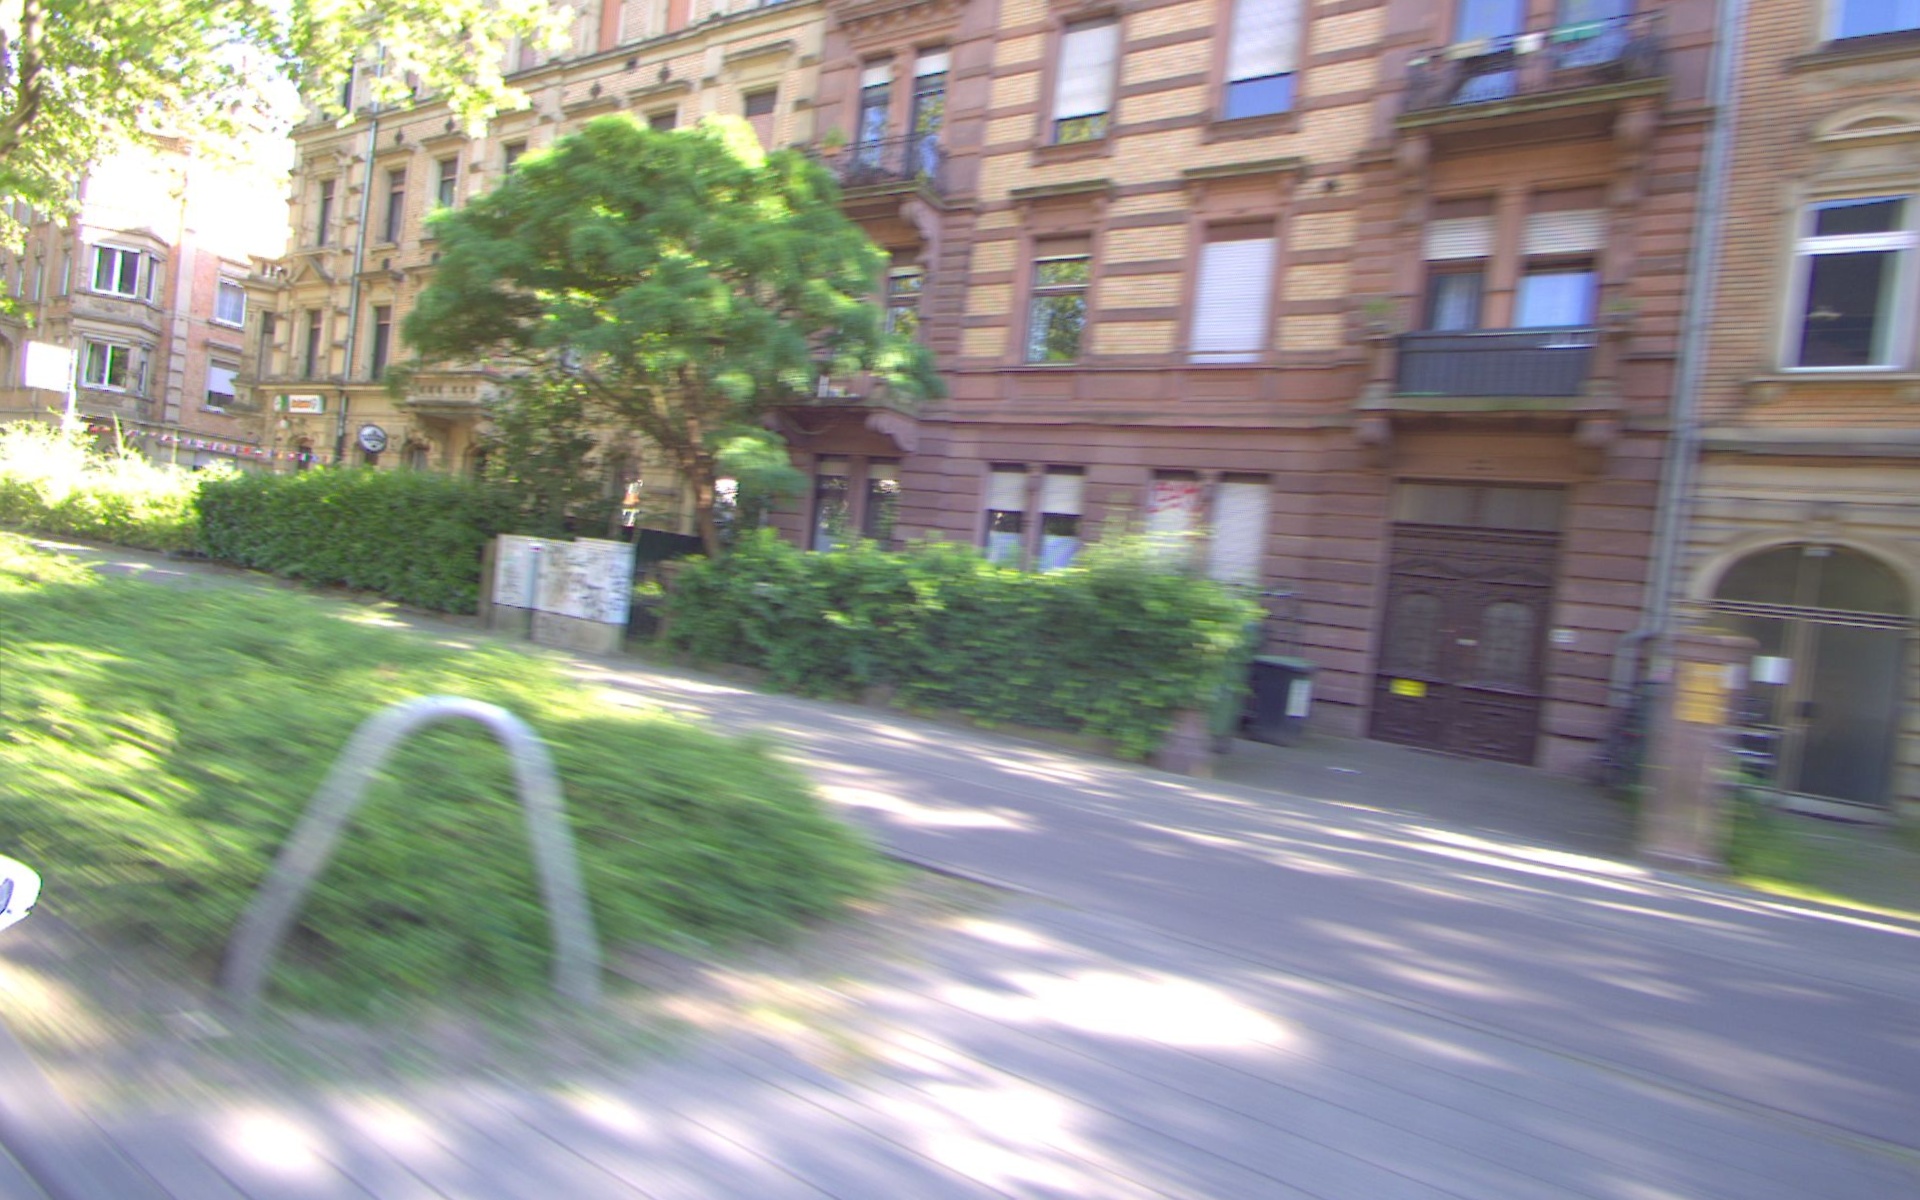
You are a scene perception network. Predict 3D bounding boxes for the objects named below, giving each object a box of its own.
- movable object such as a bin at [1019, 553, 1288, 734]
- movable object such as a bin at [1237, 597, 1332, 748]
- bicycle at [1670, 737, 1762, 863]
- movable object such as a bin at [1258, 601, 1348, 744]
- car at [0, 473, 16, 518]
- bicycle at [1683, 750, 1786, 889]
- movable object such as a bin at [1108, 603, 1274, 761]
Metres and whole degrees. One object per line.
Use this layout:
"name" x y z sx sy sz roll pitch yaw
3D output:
"movable object such as a bin" 2.689 0.547 14.108 3.176 2.022 1.547 7 1 31
"movable object such as a bin" 4.028 0.887 12.468 0.730 1.715 0.755 10 3 29
"bicycle" 6.221 1.627 8.308 0.369 0.865 0.769 10 3 28
"movable object such as a bin" 4.500 0.942 13.181 0.730 1.715 0.755 10 3 29
"car" -33.085 -3.648 31.955 1.963 1.438 3.998 7 0 22
"bicycle" 5.833 1.630 7.603 0.369 0.865 0.769 10 3 28
"movable object such as a bin" 2.443 0.826 10.567 1.236 1.400 1.233 7 1 31
